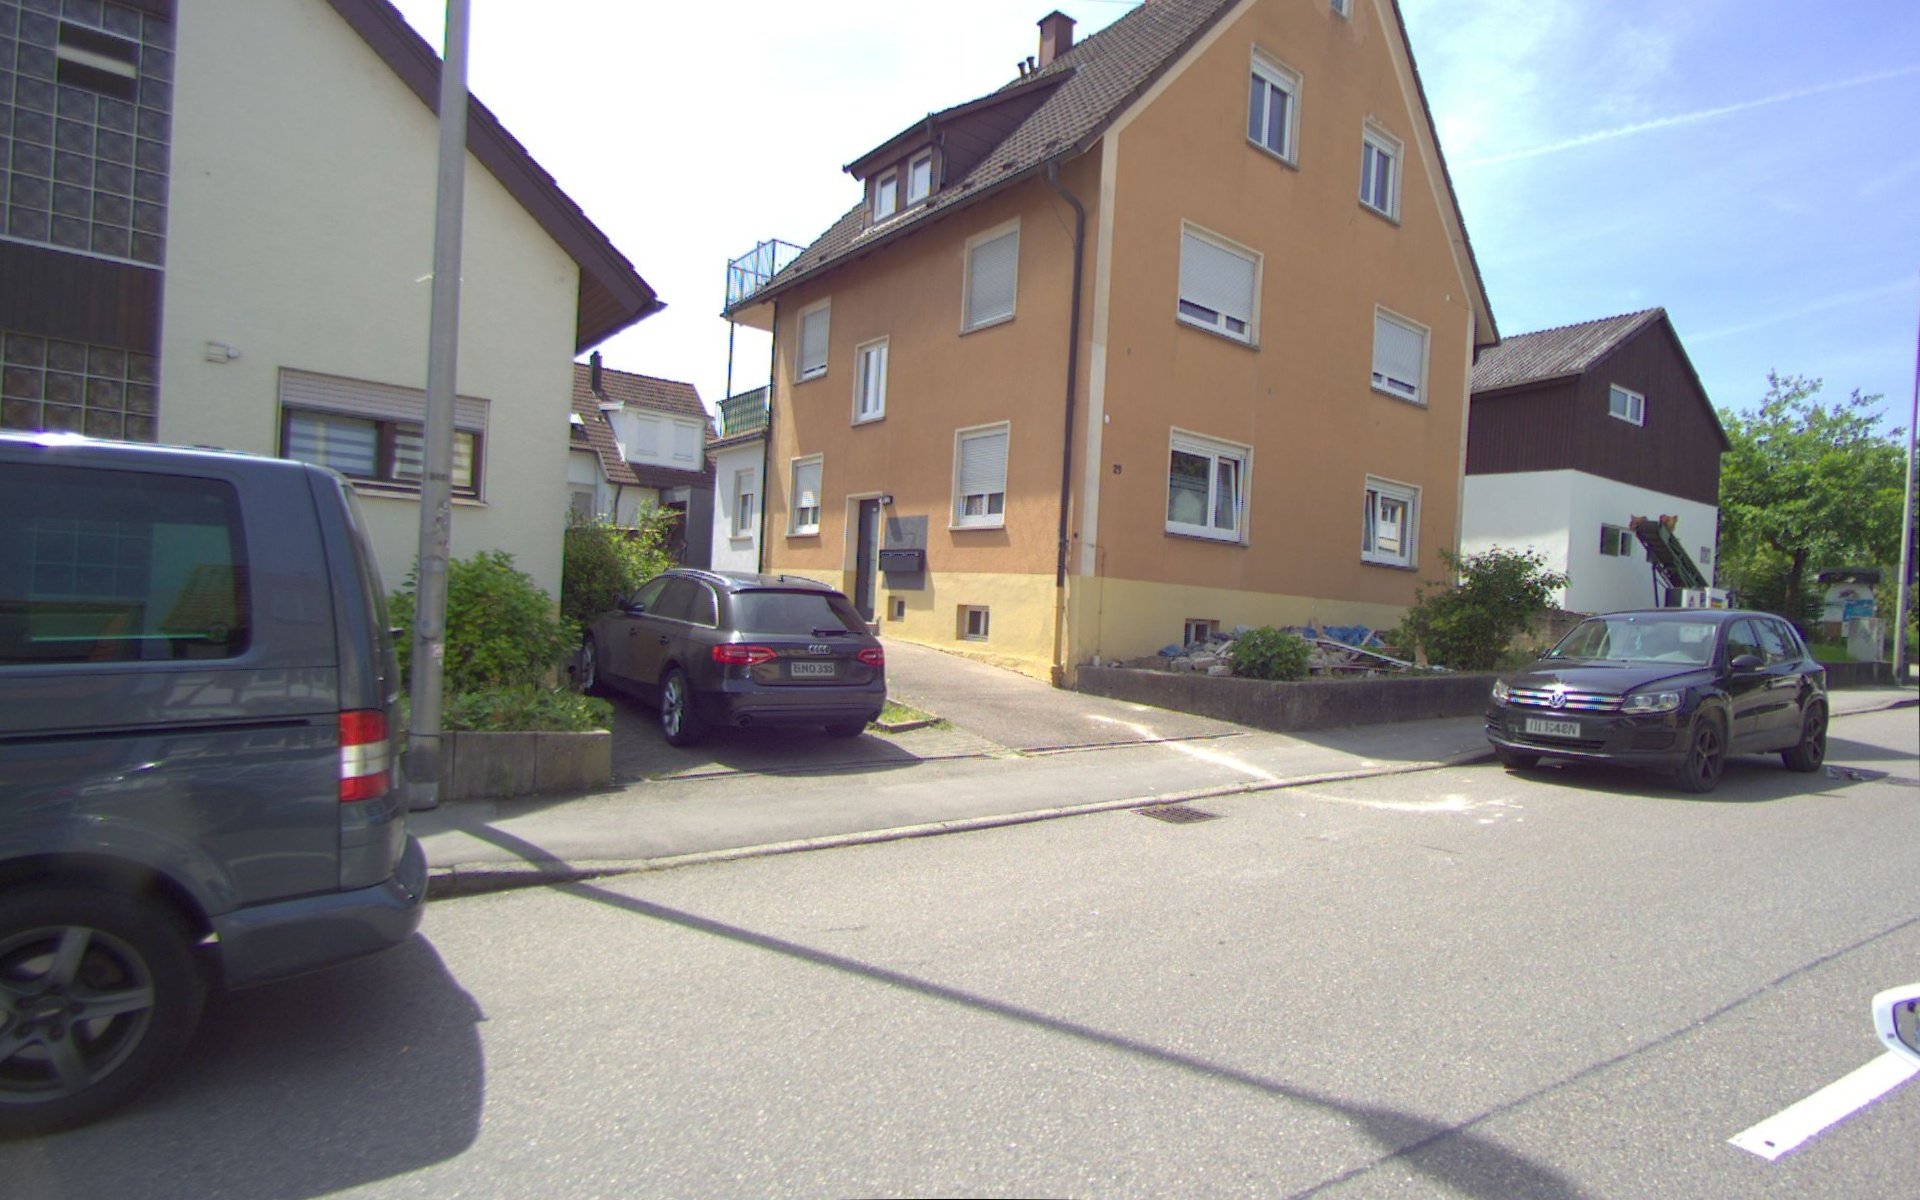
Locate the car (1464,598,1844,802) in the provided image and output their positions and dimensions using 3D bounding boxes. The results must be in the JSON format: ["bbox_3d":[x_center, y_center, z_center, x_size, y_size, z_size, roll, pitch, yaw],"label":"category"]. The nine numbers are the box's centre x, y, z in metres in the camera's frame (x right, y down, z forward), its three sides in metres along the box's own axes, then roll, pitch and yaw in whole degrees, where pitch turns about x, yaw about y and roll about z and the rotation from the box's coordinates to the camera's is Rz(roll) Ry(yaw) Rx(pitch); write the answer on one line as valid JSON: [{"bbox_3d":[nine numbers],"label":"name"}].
[{"bbox_3d":[7.082,0.859,10.126,4.243,1.657,1.757,1,-1,-34],"label":"car"}]

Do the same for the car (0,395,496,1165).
[{"bbox_3d":[-4.059,0.438,2.670,4.930,1.963,1.881,2,-2,-32],"label":"car"}]

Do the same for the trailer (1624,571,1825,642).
[{"bbox_3d":[21.793,0.133,28.848,2.713,1.714,3.703,3,2,-7],"label":"trailer"}]

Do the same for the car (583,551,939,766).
[{"bbox_3d":[-2.153,0.376,9.773,1.803,1.424,4.199,1,4,-36],"label":"car"}]

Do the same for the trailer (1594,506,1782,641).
[{"bbox_3d":[17.482,-0.527,23.985,6.113,2.886,1.700,2,1,-35],"label":"trailer"}]
